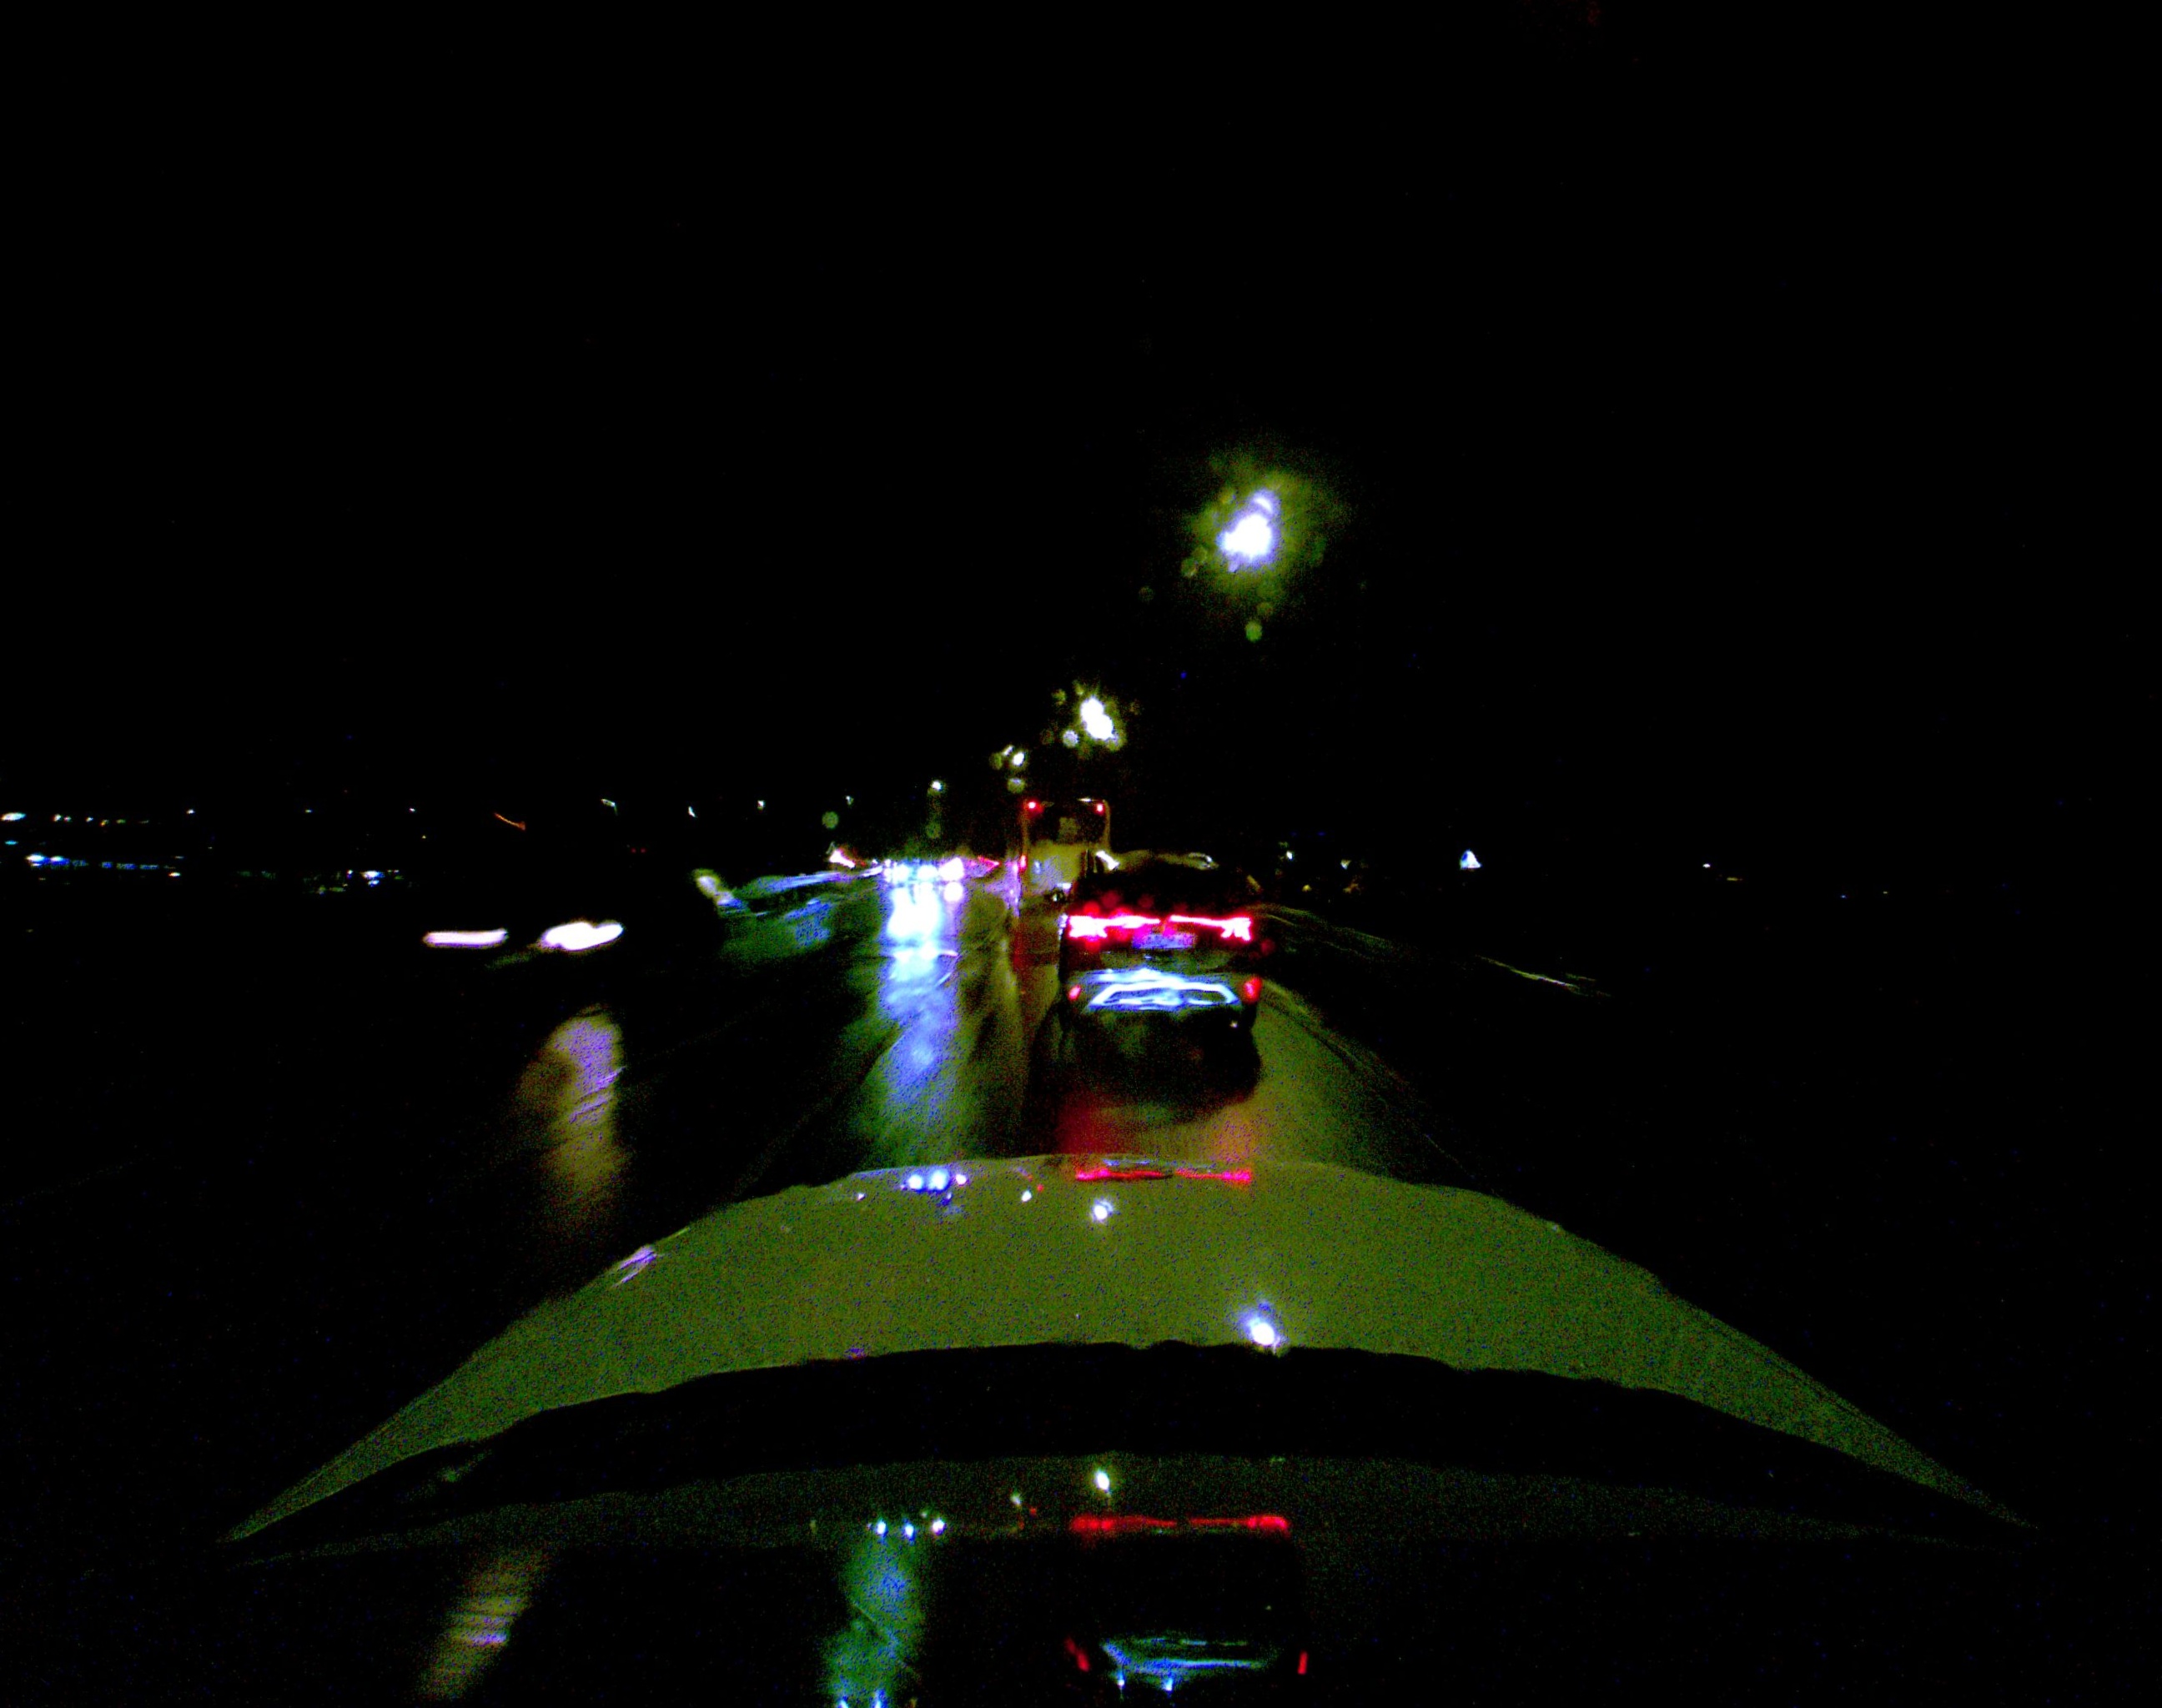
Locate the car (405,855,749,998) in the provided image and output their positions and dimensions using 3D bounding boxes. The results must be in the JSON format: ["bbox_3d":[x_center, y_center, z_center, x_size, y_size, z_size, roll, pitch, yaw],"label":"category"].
[{"bbox_3d":[-6.041,0.748,10.479,1.761,1.427,4.218,-1,0,0],"label":"car"}]

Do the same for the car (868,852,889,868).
[{"bbox_3d":[-18.952,0.551,76.205,1.817,1.404,4.028,0,1,-14],"label":"car"}]

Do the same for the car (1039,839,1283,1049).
[{"bbox_3d":[0.528,0.718,8.294,1.852,1.586,3.995,2,-1,-3],"label":"car"}]

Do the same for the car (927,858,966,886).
[{"bbox_3d":[-7.436,0.966,44.846,1.897,1.439,4.045,0,0,-13],"label":"car"}]

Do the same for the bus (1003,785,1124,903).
[{"bbox_3d":[-1.057,-0.325,28.211,3.080,3.132,12.668,0,0,-6],"label":"bus"}]

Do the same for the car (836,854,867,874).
[{"bbox_3d":[-28.080,1.218,99.665,2.009,2.014,3.955,8,-3,-39],"label":"car"}]

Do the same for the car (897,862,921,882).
[{"bbox_3d":[-13.095,1.374,62.146,1.683,1.391,4.433,1,-1,-12],"label":"car"}]

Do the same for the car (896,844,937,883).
[{"bbox_3d":[-7.022,0.378,34.923,1.469,1.584,3.183,0,1,-7],"label":"car"}]

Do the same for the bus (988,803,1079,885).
[{"bbox_3d":[-2.452,-0.475,38.510,3.049,3.131,8.050,6,0,-10],"label":"bus"}]

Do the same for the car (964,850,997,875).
[{"bbox_3d":[-7.193,0.621,57.885,1.640,1.655,3.688,-2,0,-17],"label":"car"}]
